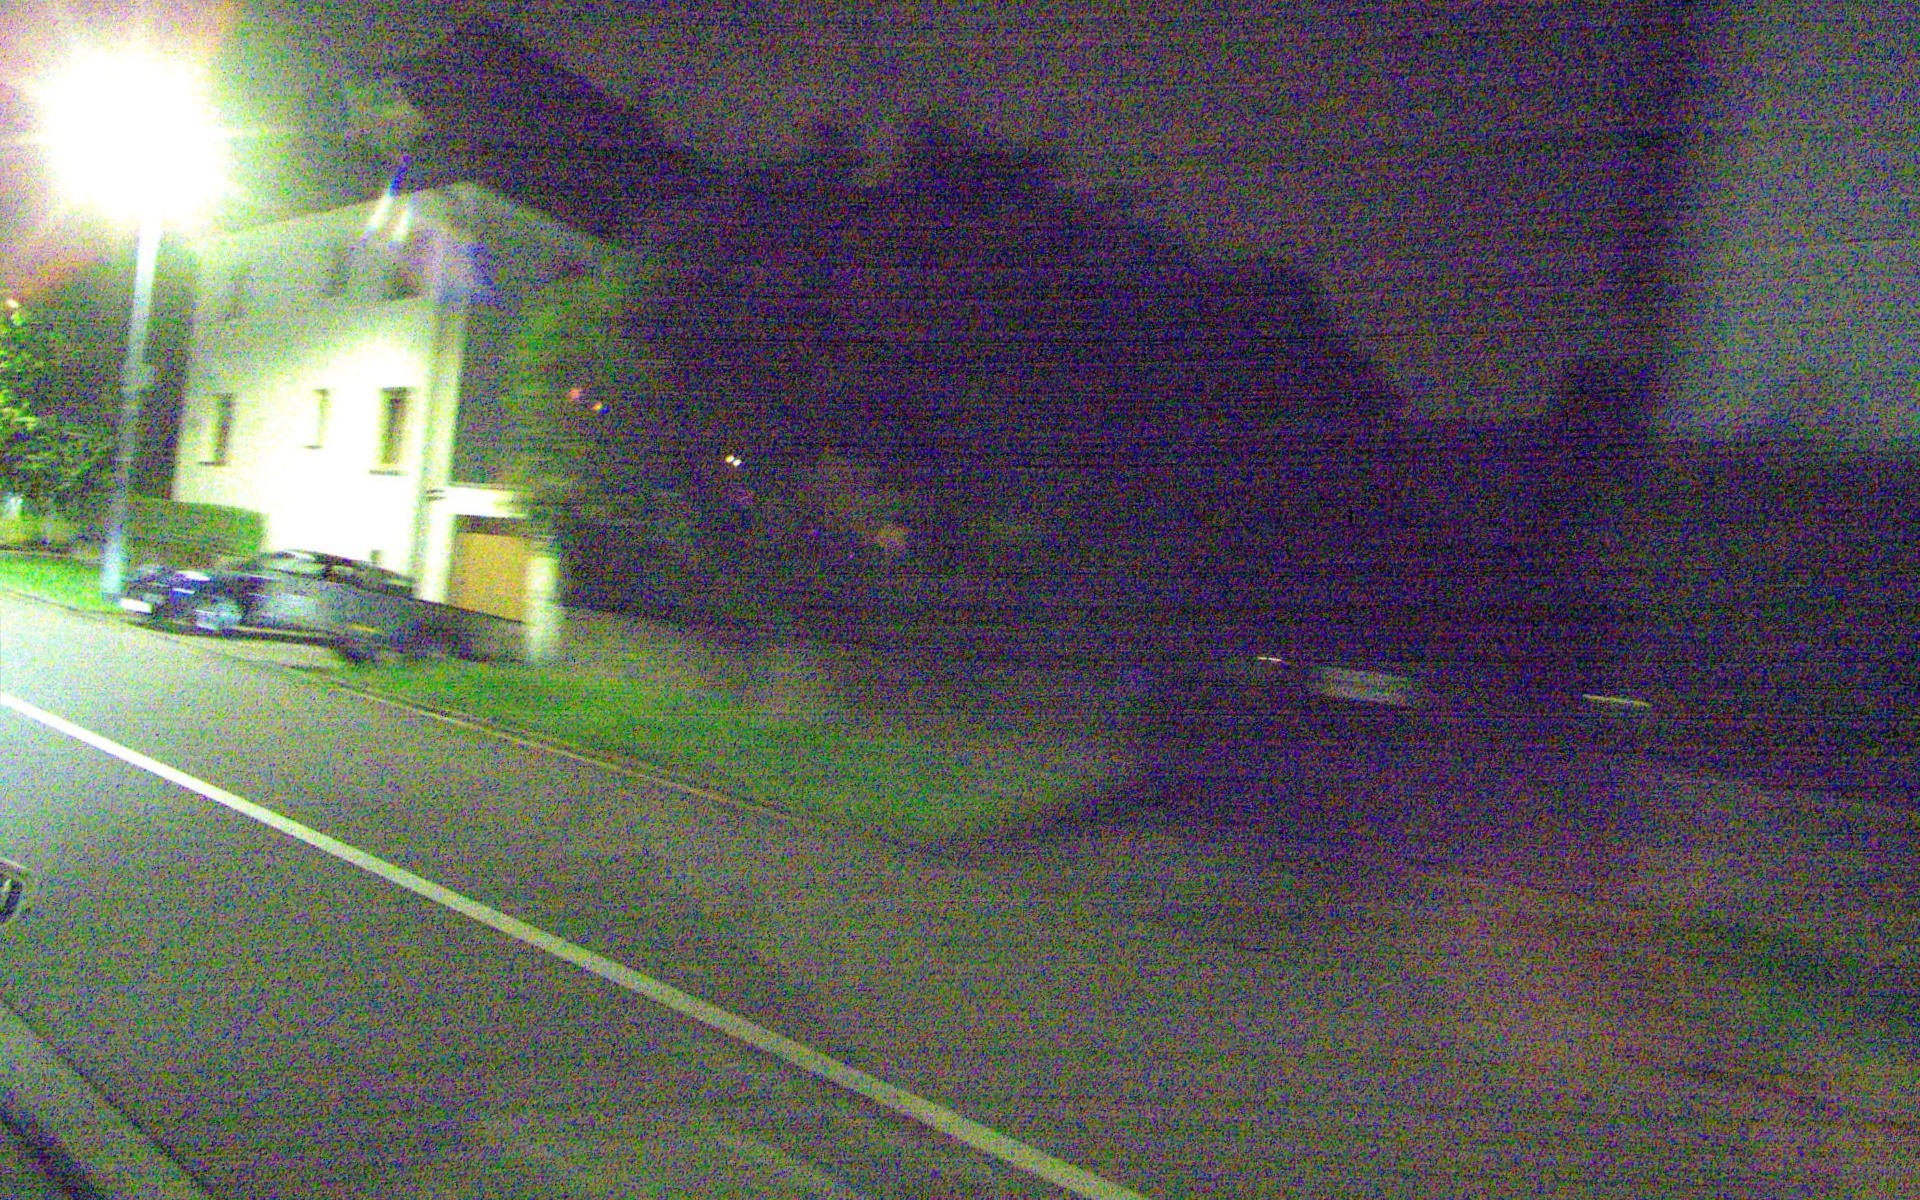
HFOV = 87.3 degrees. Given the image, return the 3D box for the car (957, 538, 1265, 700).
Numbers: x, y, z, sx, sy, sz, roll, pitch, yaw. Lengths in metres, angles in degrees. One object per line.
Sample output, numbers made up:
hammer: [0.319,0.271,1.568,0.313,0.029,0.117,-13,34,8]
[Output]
car: [2.447,0.293,16.646,4.431,2.037,1.997,7,-1,32]

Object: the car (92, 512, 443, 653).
car: [-9.167,-0.164,13.585,1.695,1.245,3.403,7,-4,30]

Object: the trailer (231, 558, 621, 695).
trailer: [-6.032,0.371,11.719,1.922,1.013,3.442,7,-4,32]

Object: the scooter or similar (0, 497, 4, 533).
scooter or similar: [-31.896,-2.766,32.739,1.662,1.296,0.613,7,-1,30]
